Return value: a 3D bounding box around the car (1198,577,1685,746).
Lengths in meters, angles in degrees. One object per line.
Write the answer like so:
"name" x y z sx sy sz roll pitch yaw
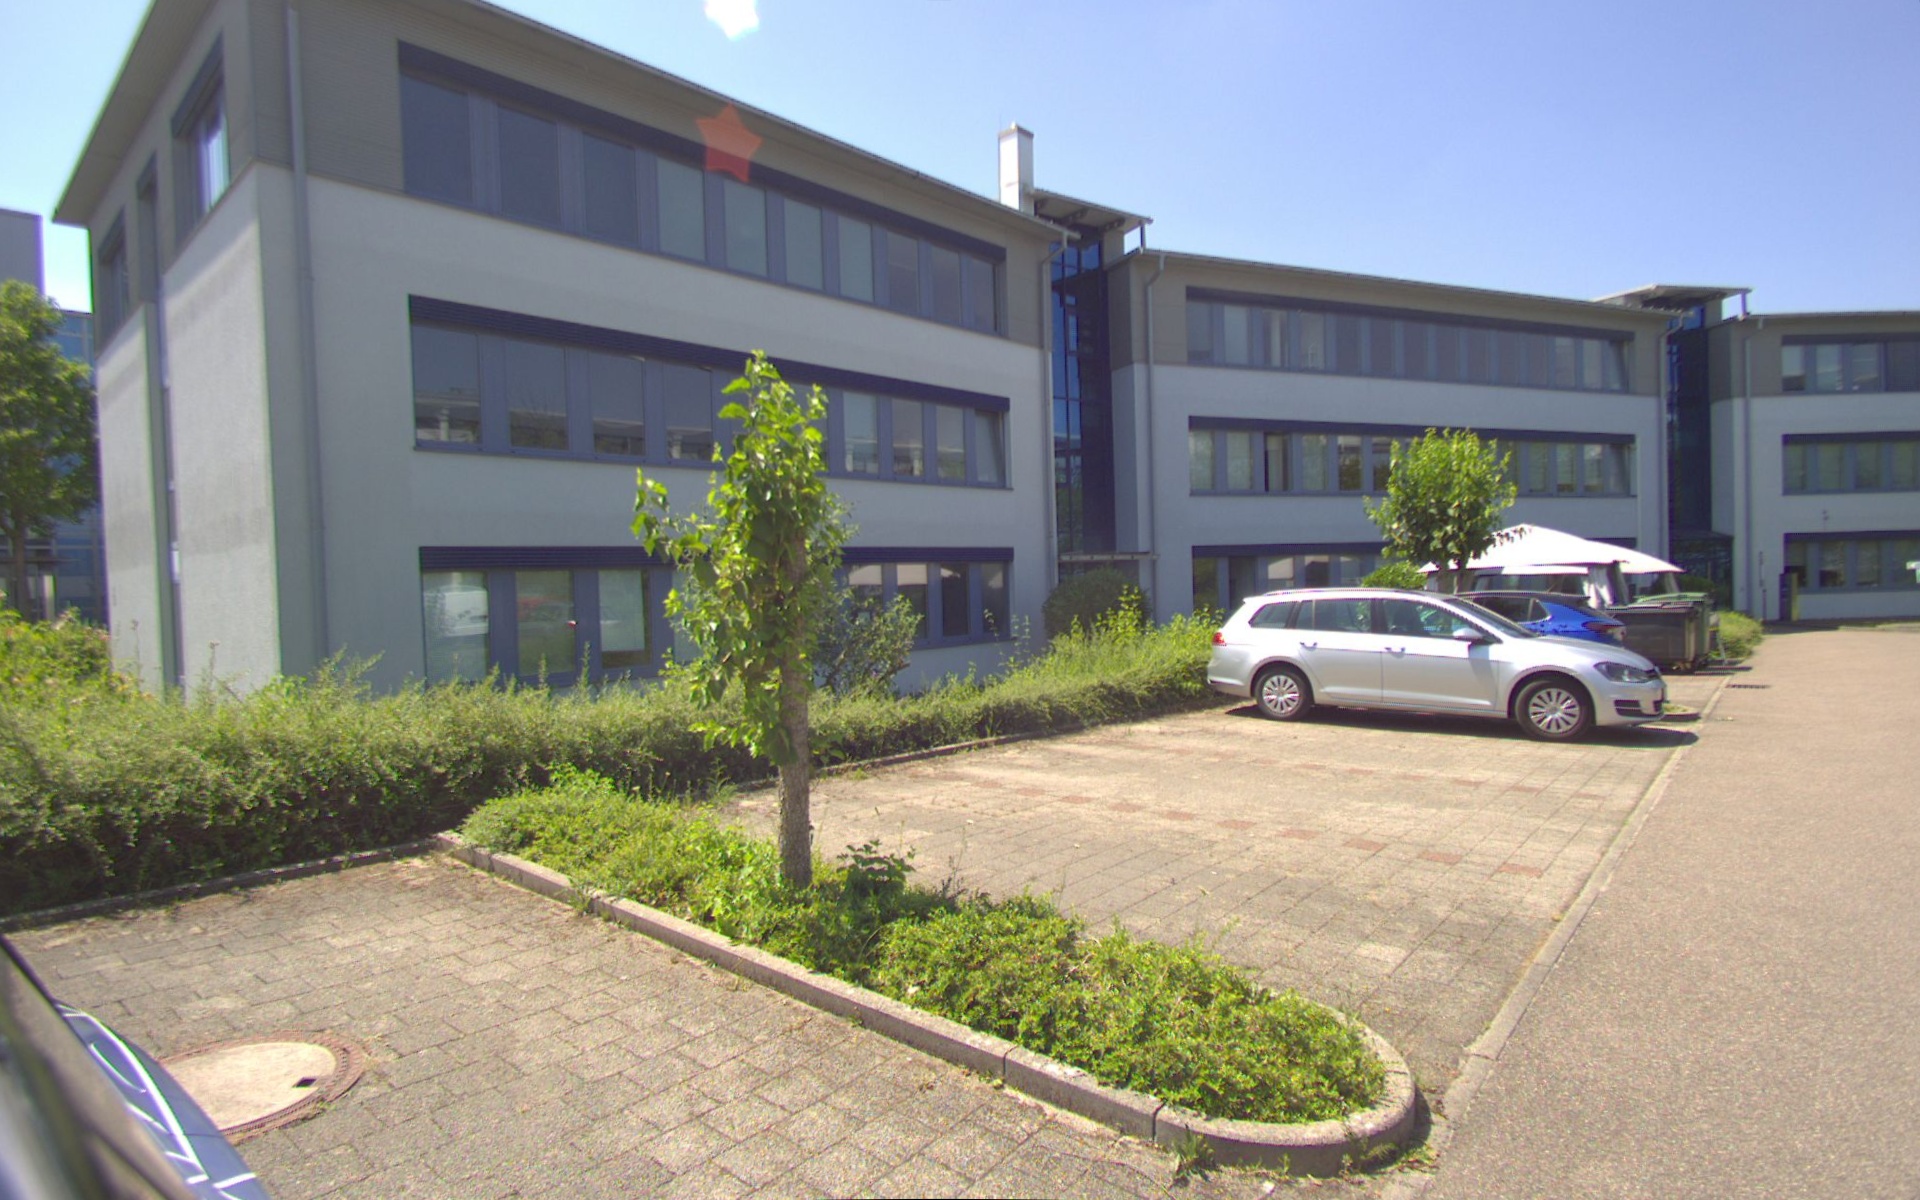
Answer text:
"car" 5.071 0.553 11.017 4.479 1.483 1.839 -1 0 39

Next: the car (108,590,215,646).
"car" -25.333 0.542 32.074 4.167 1.650 1.809 0 1 39

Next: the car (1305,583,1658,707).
"car" 7.197 0.584 14.177 3.999 1.473 1.972 -2 -1 43
